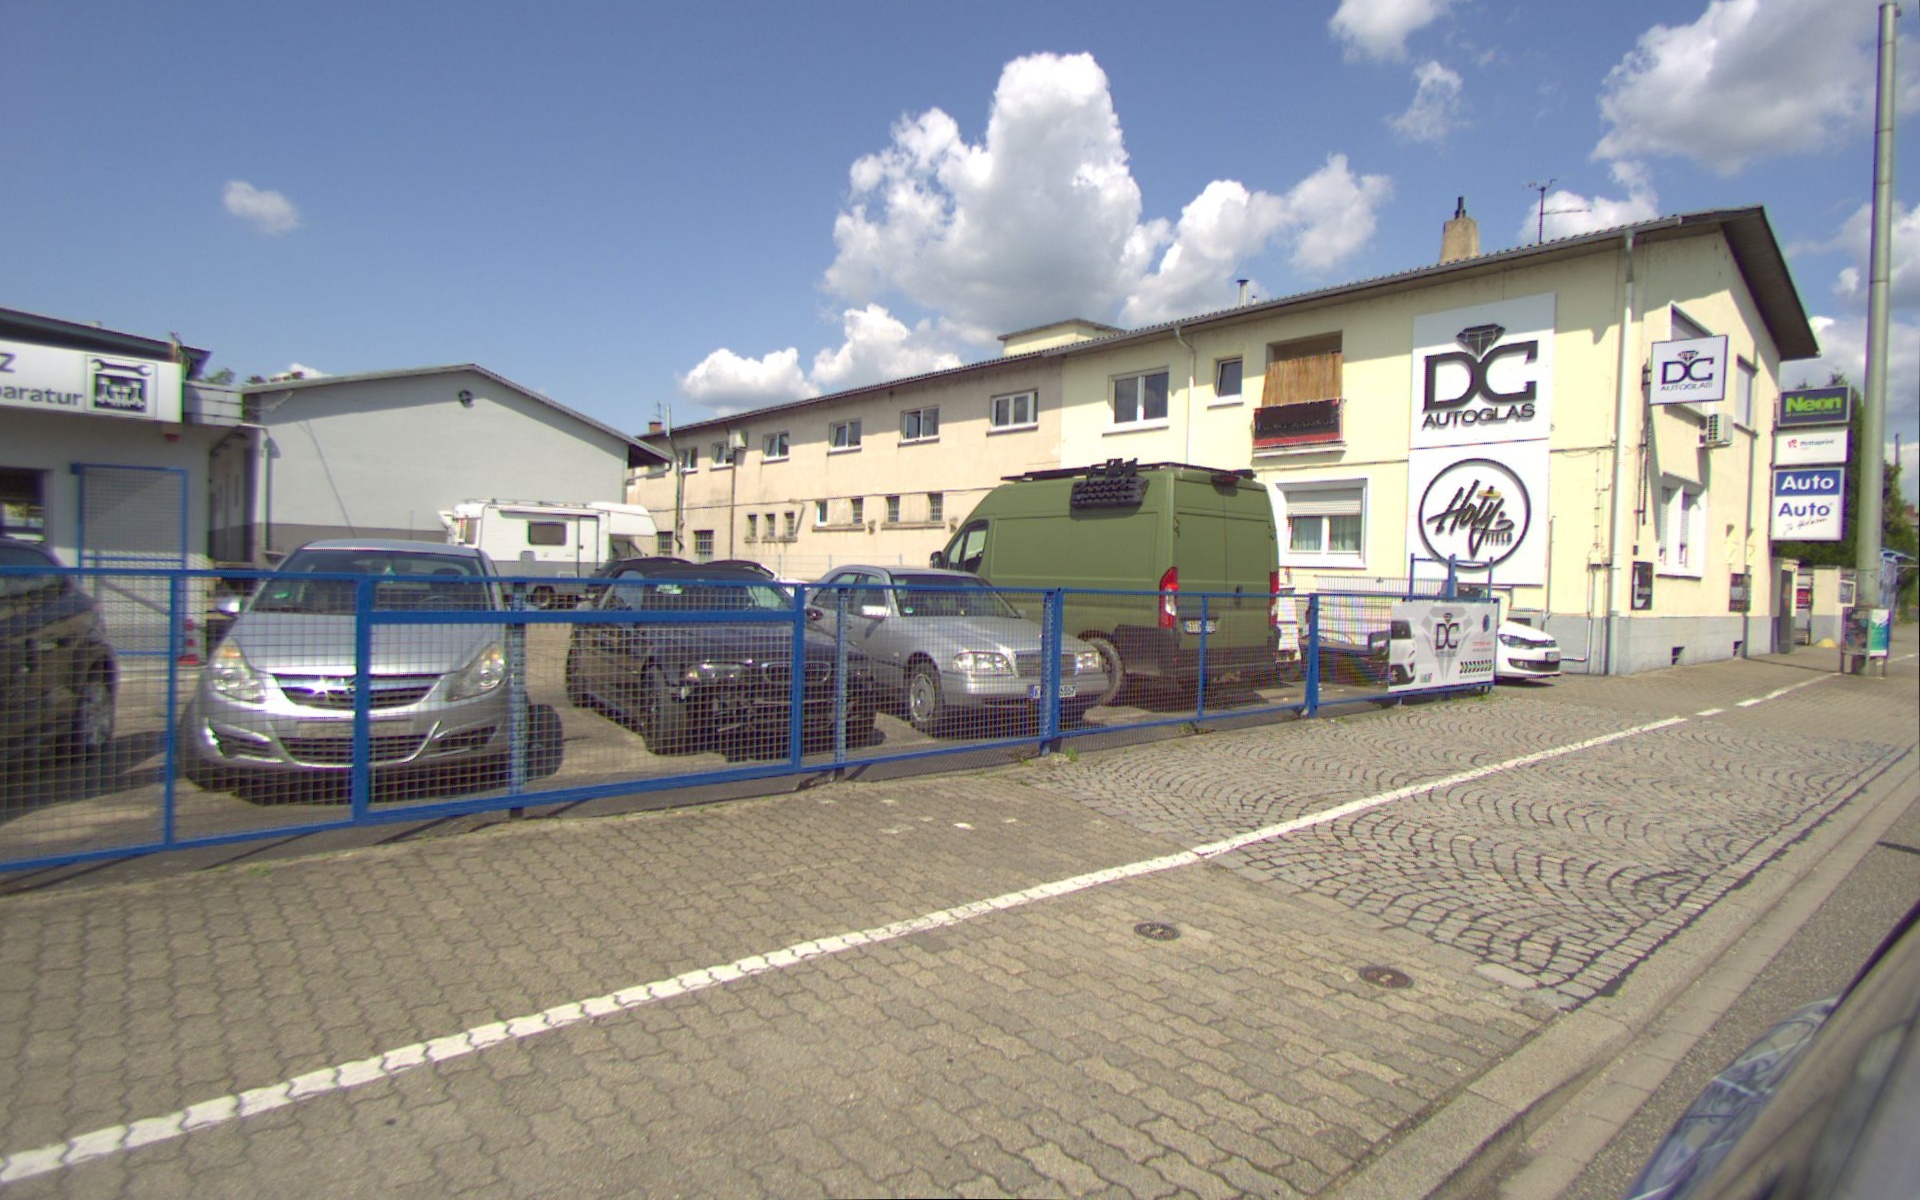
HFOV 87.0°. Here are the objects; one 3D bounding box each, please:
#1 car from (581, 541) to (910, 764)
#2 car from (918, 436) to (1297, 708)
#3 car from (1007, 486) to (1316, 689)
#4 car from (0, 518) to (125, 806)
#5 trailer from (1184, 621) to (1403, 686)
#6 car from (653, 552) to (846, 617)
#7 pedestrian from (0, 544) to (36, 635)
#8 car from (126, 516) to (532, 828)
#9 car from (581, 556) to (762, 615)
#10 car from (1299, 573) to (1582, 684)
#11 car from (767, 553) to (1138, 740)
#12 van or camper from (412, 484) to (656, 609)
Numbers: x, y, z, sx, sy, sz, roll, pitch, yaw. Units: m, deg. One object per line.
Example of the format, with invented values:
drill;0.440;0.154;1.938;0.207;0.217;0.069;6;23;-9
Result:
car;-2.117;0.275;8.895;1.737;1.470;4.128;1;2;-28
car;1.599;-0.348;12.253;2.075;2.675;4.208;1;2;-39
car;2.661;-0.228;14.247;1.557;2.436;4.208;1;2;-39
car;-5.635;0.305;4.862;1.606;1.470;3.701;1;2;-25
trailer;4.760;0.726;14.648;1.307;0.674;2.730;0;2;-42
car;-4.833;-0.348;23.545;4.112;1.378;1.645;0;2;-41
pedestrian;-13.150;-0.156;13.879;0.652;1.224;0.566;1;1;-39
car;-3.888;0.282;6.838;1.736;1.470;3.778;1;2;-24
car;-7.295;-0.358;25.808;4.112;1.378;1.645;0;2;-41
car;7.546;0.363;16.176;1.527;1.481;3.775;1;2;-39
car;-0.327;0.288;10.200;1.679;1.470;4.292;1;2;-33
van or camper;-11.292;-1.324;27.108;5.556;3.002;2.272;0;2;-42
